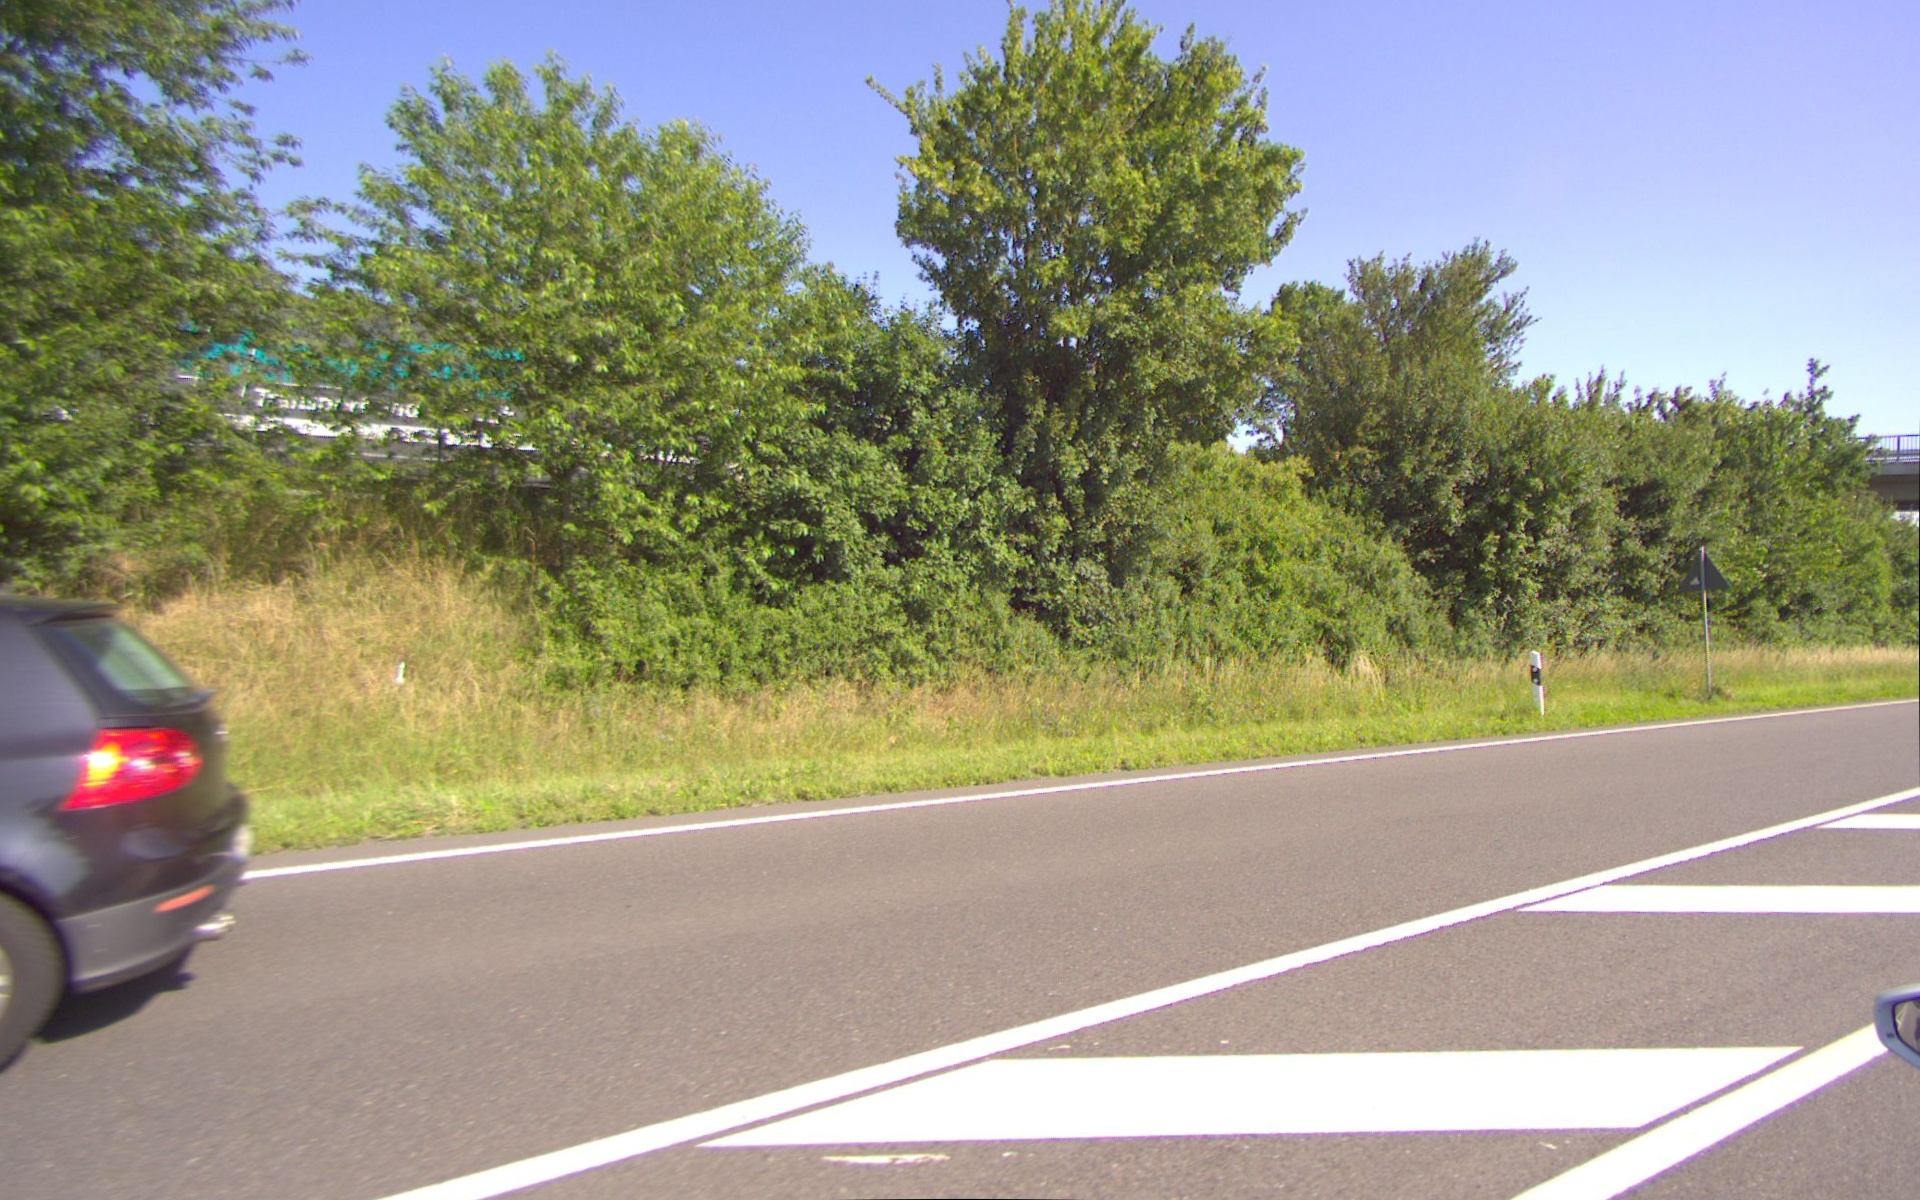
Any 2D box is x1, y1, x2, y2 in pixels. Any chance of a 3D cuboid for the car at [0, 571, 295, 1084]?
[{"bbox_3d":[-4.382,0.634,2.958,3.956,1.501,1.740,1,0,-32],"label":"car"}]
